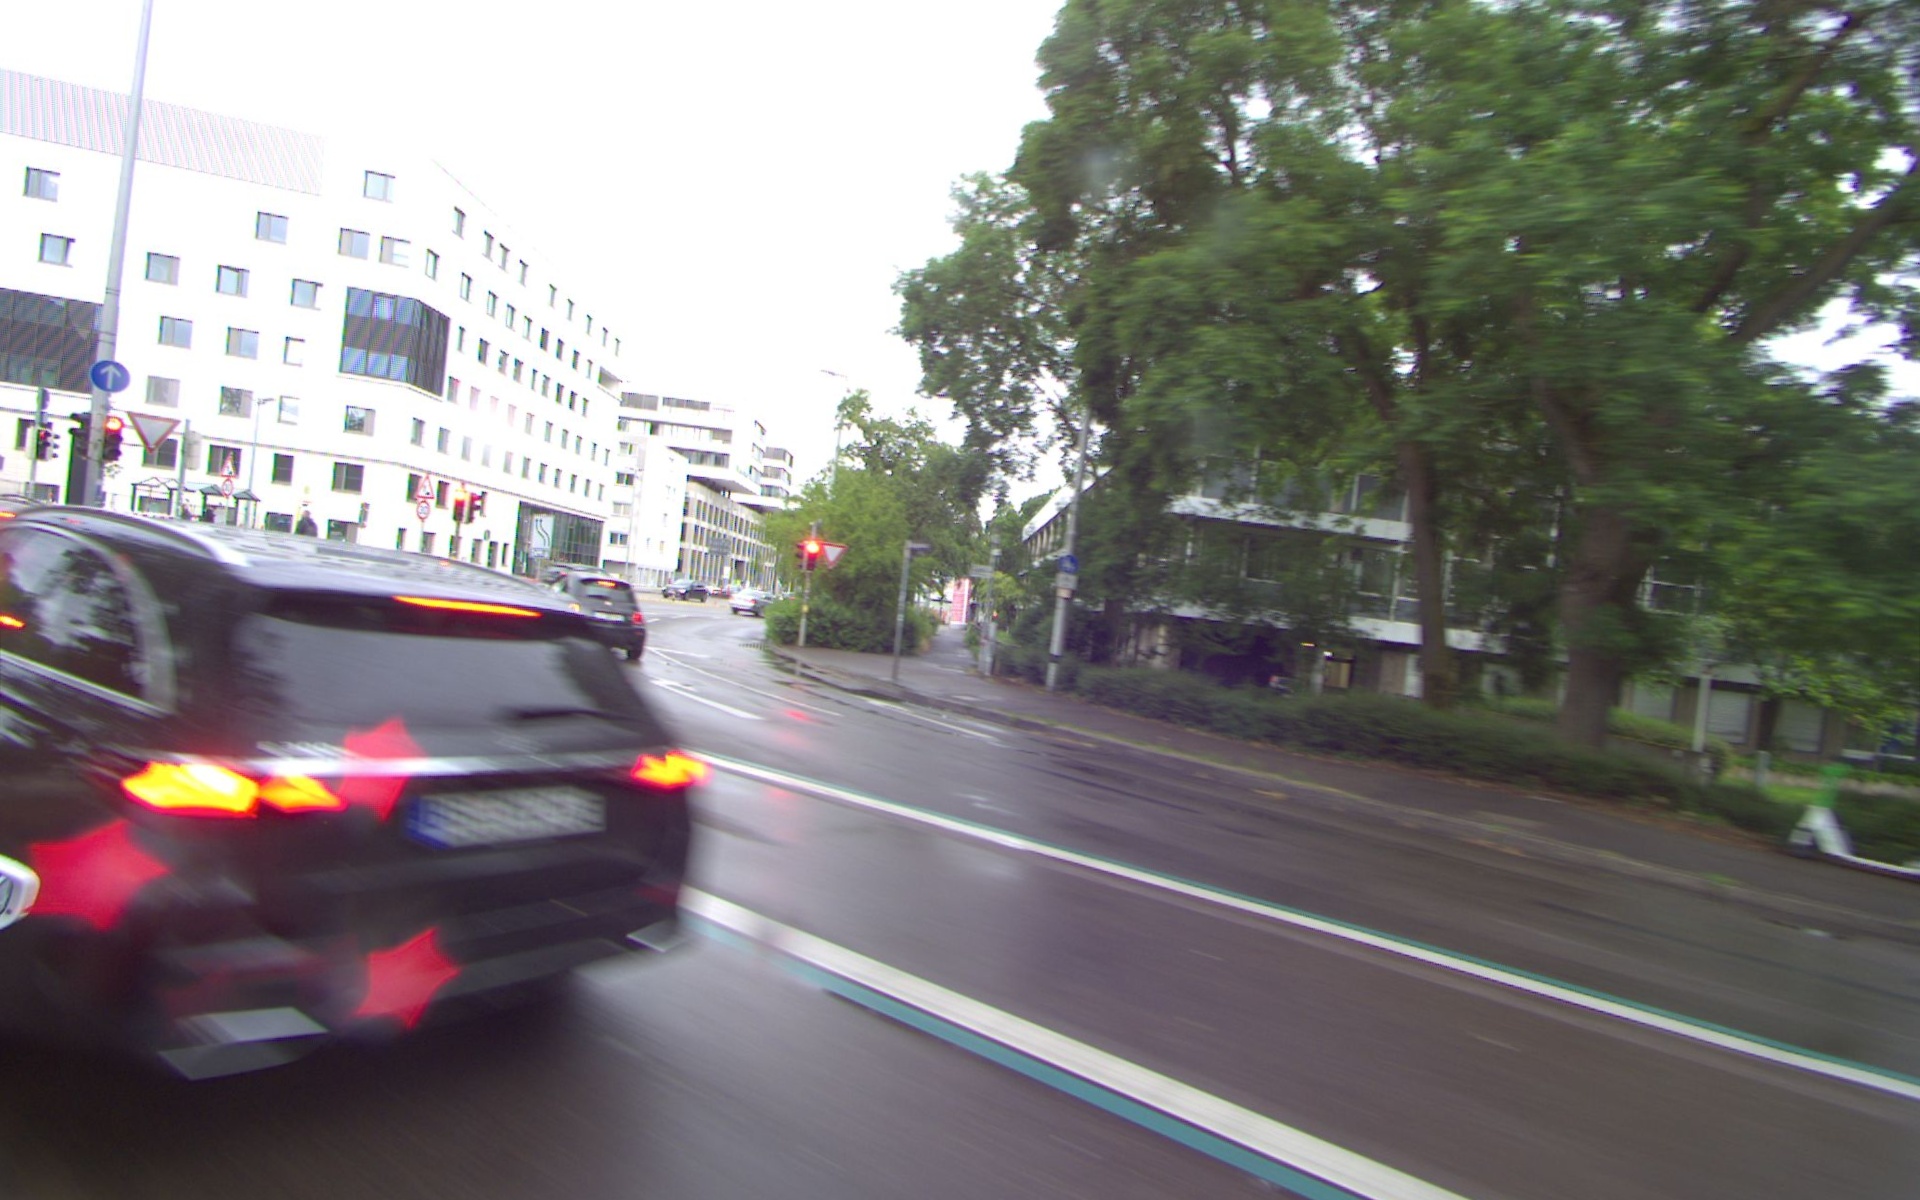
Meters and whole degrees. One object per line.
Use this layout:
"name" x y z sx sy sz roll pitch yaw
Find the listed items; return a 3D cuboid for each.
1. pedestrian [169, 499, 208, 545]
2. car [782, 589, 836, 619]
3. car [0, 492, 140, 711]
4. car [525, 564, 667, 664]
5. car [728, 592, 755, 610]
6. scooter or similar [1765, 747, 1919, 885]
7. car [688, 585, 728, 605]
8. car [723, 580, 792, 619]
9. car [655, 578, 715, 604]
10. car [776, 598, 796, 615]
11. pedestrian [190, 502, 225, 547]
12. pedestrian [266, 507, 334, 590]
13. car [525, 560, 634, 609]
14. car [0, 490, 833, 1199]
"pedestrian" -34.251 -3.469 44.662 0.809 1.861 0.954 6 -1 22
"car" -10.859 0.340 72.822 1.833 1.669 4.782 6 -2 17
"car" -8.616 -0.225 8.049 4.436 1.484 1.673 8 0 31
"car" -7.288 0.217 19.908 1.848 1.467 3.968 8 0 -30
"car" -21.202 0.081 97.808 1.965 1.395 4.383 7 -1 -7
"scooter or similar" 9.563 2.245 10.319 0.552 1.116 1.872 3 3 -35
"car" -26.388 -0.503 105.290 4.004 1.575 1.960 6 -2 40
"car" -11.297 0.021 56.429 1.832 1.669 4.783 6 -2 13
"car" -19.178 -0.616 70.351 1.962 1.395 4.390 7 -1 14
"car" -17.983 0.656 103.992 1.768 1.460 3.995 8 -2 -9
"pedestrian" -35.026 -3.503 46.826 0.941 1.958 1.000 5 -2 43
"pedestrian" -16.450 -1.278 25.082 1.009 1.914 0.830 6 -1 25
"car" -15.335 -0.586 40.788 1.833 1.437 4.003 6 -2 20
"car" -3.006 0.427 3.952 4.853 1.462 1.881 7 -2 35
